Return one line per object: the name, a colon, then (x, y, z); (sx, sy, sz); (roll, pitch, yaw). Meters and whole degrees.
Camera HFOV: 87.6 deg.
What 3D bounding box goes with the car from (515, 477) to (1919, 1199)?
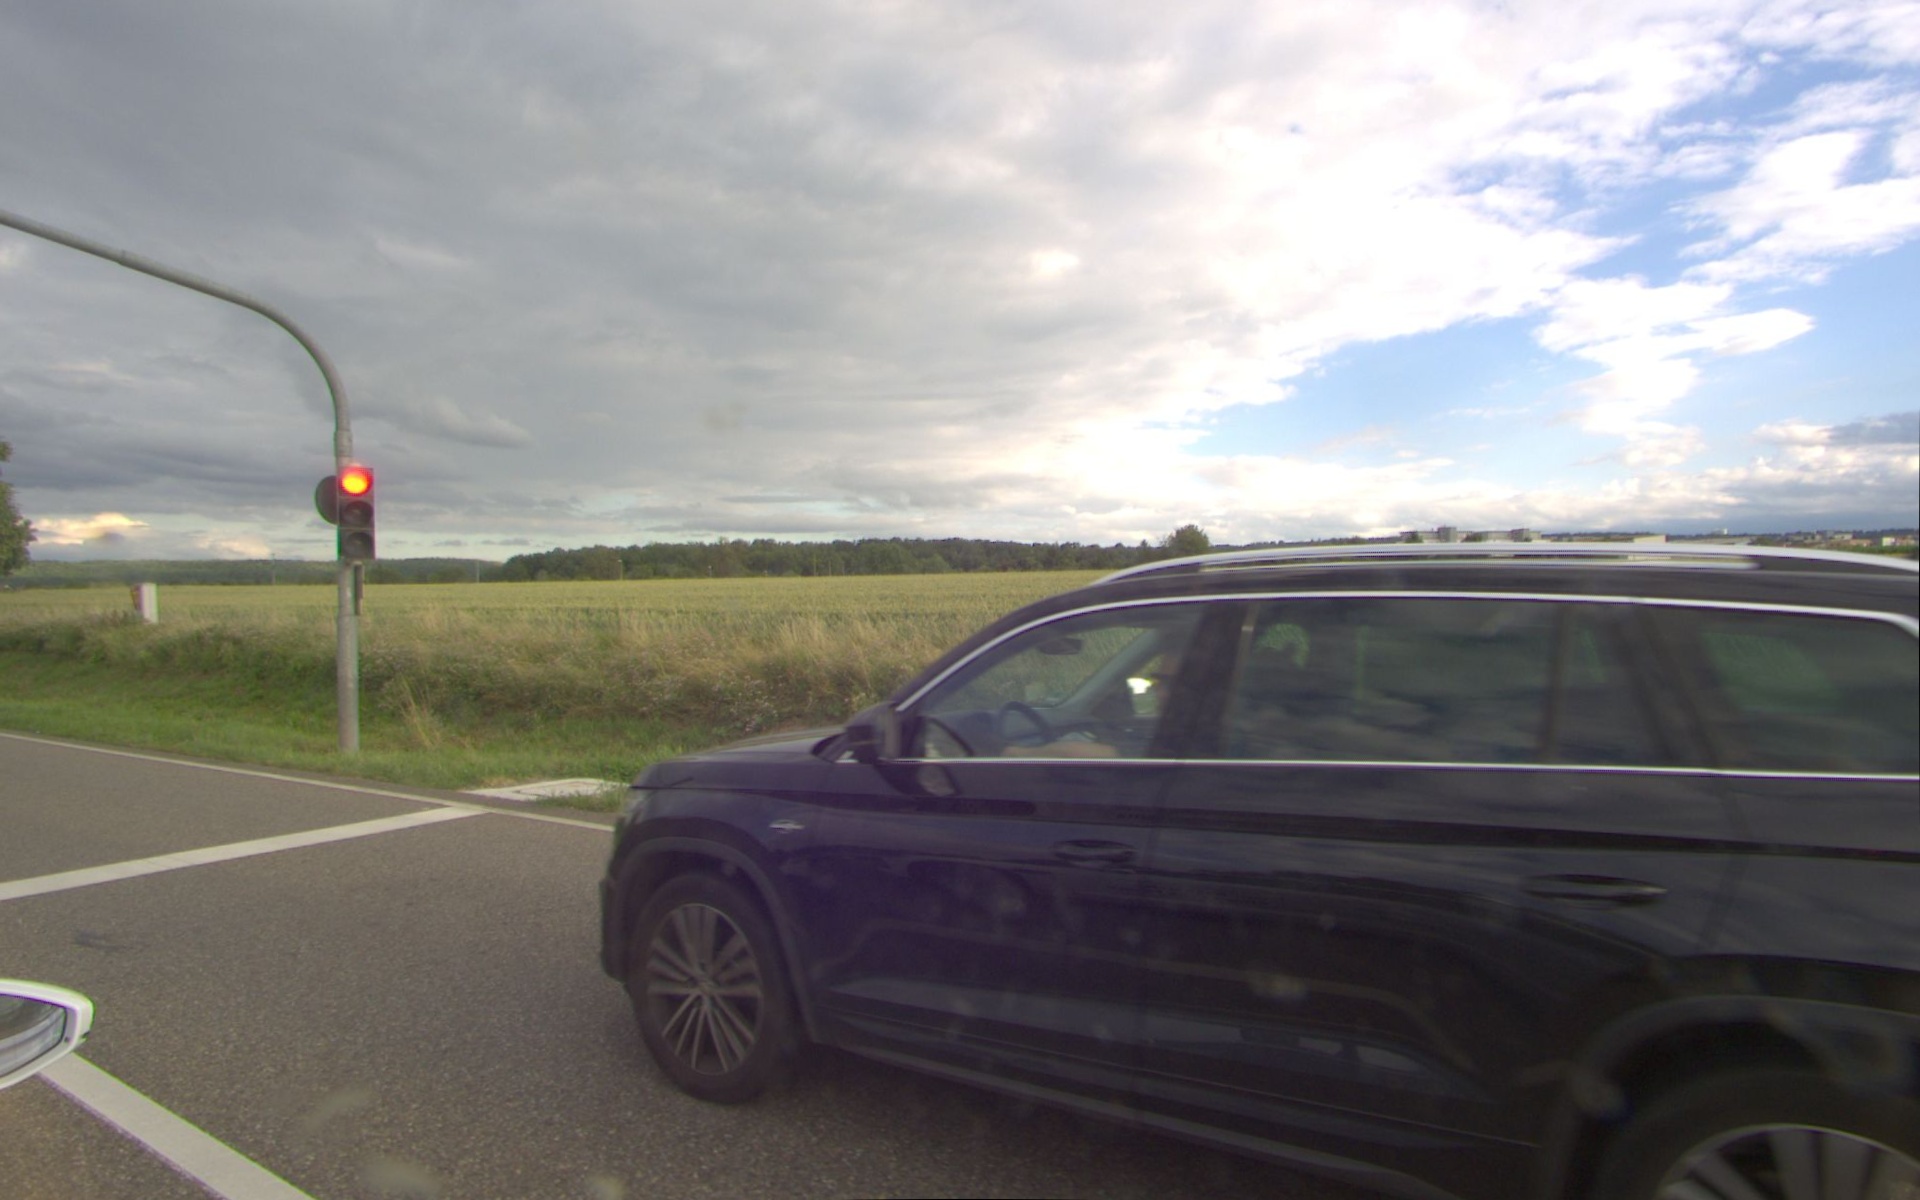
car: (0.788, 0.731, 3.154); (4.492, 1.730, 1.833); (-1, -2, 32)
